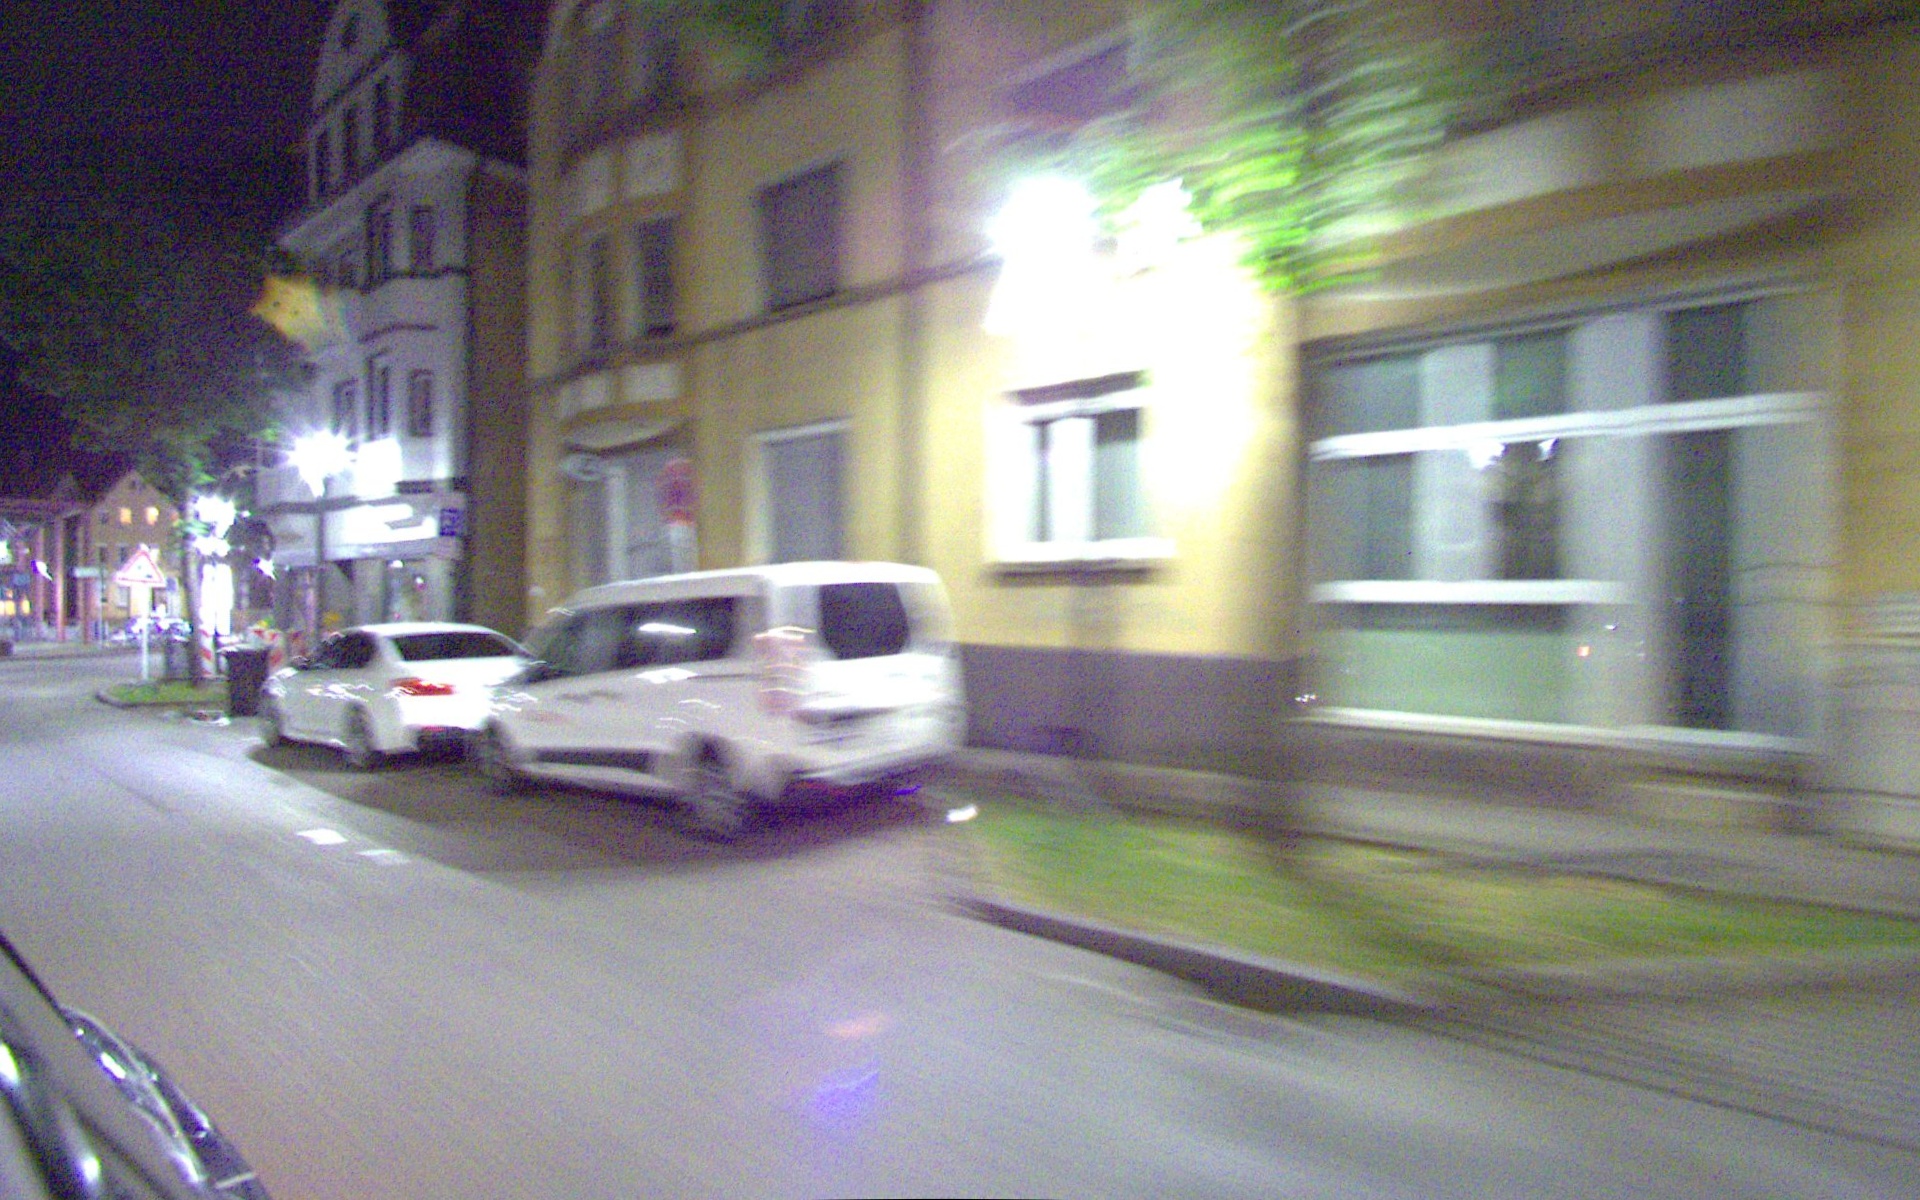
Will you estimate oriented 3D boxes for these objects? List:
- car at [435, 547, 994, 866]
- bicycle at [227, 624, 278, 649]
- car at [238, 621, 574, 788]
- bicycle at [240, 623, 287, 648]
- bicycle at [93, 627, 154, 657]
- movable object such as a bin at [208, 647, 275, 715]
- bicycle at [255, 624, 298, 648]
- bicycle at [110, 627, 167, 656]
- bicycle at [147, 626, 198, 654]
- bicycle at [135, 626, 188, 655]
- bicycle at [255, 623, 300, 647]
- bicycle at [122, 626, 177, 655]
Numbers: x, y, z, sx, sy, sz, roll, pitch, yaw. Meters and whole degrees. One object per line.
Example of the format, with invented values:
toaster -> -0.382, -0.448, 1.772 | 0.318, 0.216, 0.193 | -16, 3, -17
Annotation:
car -> -2.208, 0.655, 8.163 | 4.810, 1.857, 1.864 | -1, 0, 40
bicycle -> -33.235, 1.719, 47.560 | 1.841, 1.143, 0.726 | -1, 0, -8
car -> -6.514, 1.011, 11.622 | 4.879, 1.461, 1.820 | -1, 0, 41
bicycle -> -33.549, 1.717, 48.759 | 1.765, 1.143, 0.630 | -1, 0, -8
bicycle -> -33.496, 1.669, 40.562 | 1.760, 1.160, 0.761 | -1, -1, -7
movable object such as a bin -> -12.014, 1.345, 16.943 | 0.616, 1.057, 0.689 | -1, 1, 0
bicycle -> -33.417, 1.751, 49.521 | 1.634, 1.143, 0.643 | -1, 0, -6
bicycle -> -33.585, 1.683, 41.373 | 1.749, 1.160, 0.615 | -1, -1, -7
bicycle -> -33.819, 1.727, 43.470 | 1.752, 1.160, 0.582 | -1, -1, -1
bicycle -> -33.800, 1.708, 42.842 | 1.752, 1.160, 0.582 | -1, -1, -1
bicycle -> -34.072, 1.753, 50.548 | 1.747, 1.149, 0.688 | -1, 0, -6
bicycle -> -33.735, 1.695, 42.128 | 1.749, 1.160, 0.583 | -1, -1, -7
